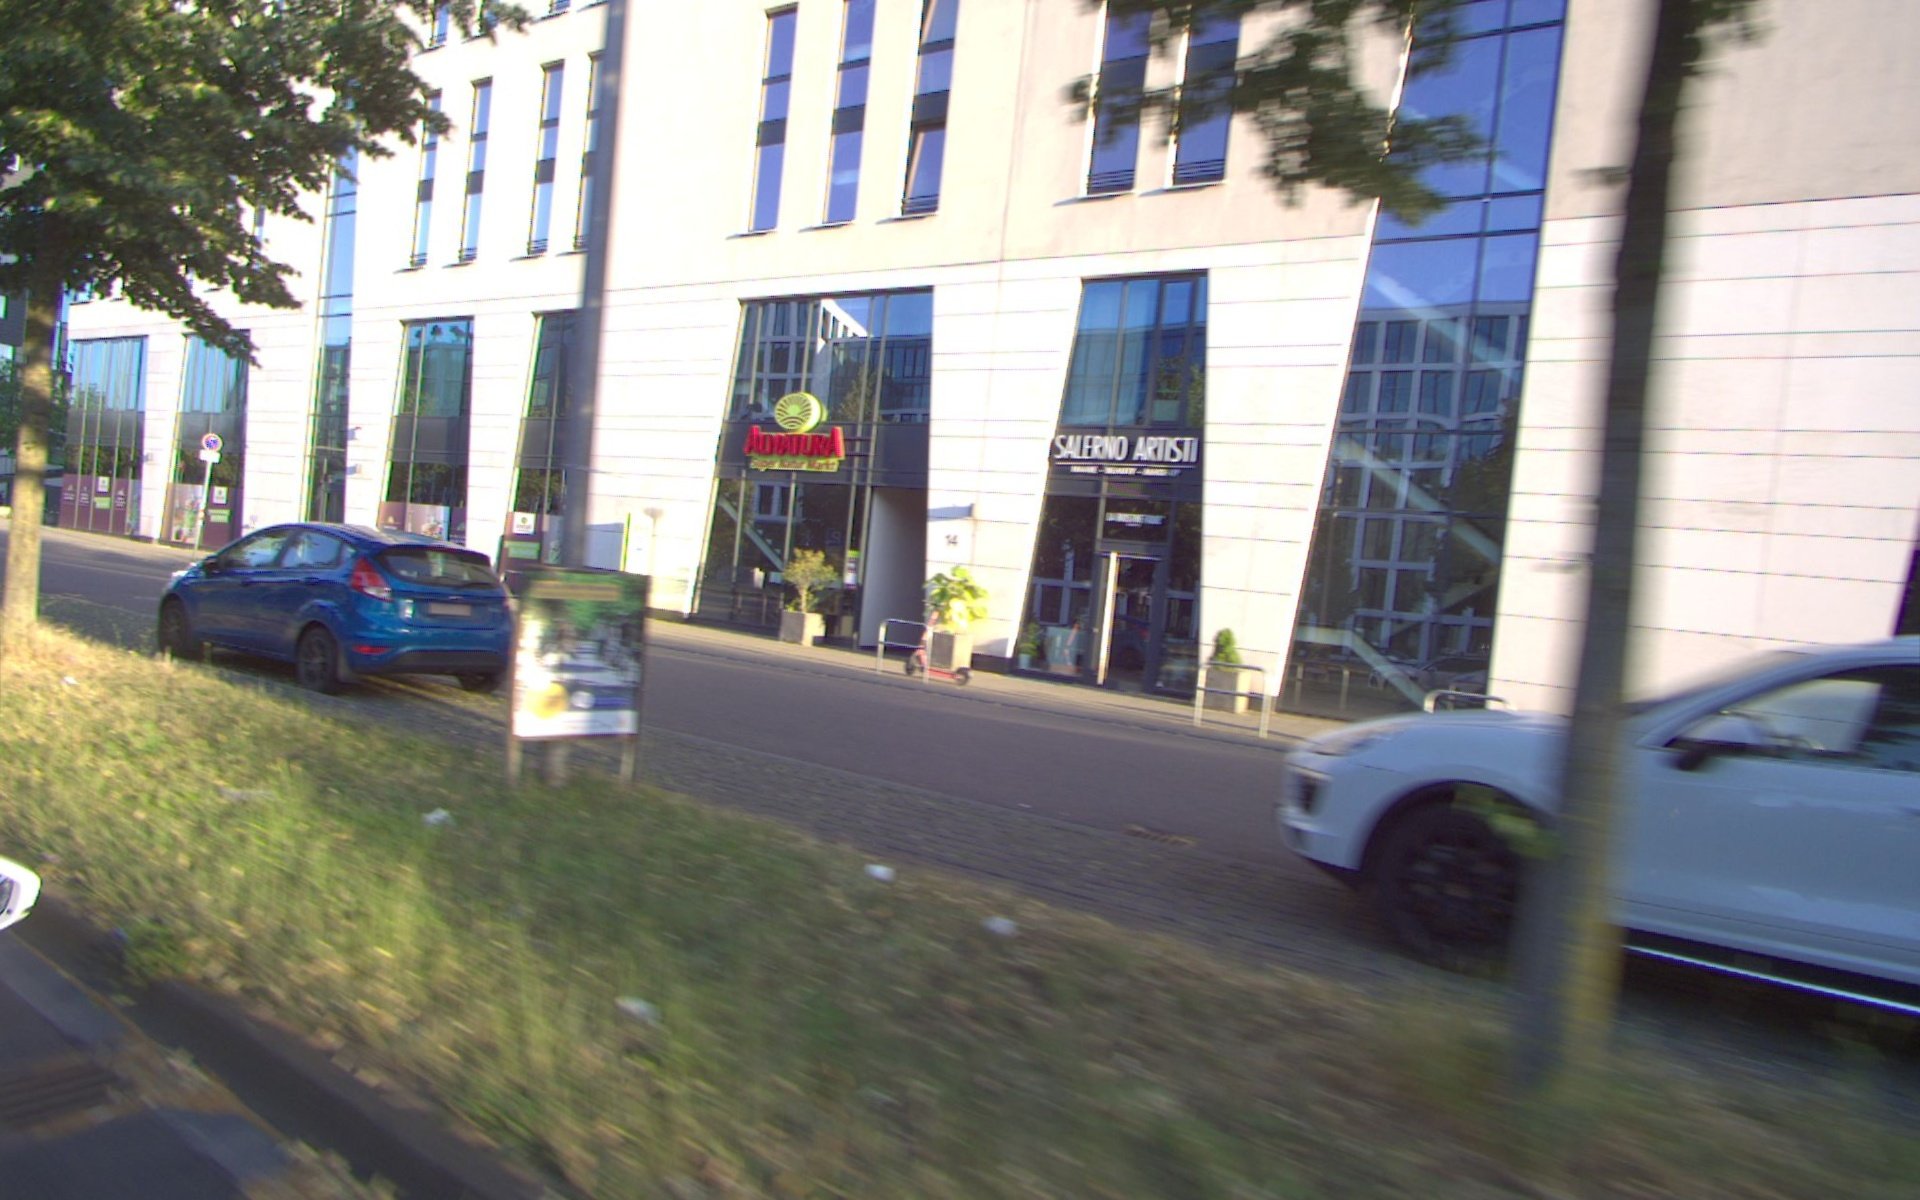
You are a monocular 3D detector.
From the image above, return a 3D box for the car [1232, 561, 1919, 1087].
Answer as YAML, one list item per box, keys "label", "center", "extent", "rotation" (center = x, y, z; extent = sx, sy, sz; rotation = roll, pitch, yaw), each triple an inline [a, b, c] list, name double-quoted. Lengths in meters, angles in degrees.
- label: "car"
  center: [4.086, 0.992, 4.503]
  extent: [5.071, 1.735, 1.955]
  rotation: [6, -1, 30]

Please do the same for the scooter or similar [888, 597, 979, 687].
- label: "scooter or similar"
  center: [-0.412, 0.621, 15.237]
  extent: [1.288, 1.203, 0.356]
  rotation: [7, 3, 30]

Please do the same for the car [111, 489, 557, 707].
- label: "car"
  center: [-6.128, -0.058, 9.756]
  extent: [4.195, 1.548, 1.728]
  rotation: [6, -1, 29]

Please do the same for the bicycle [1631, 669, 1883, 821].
- label: "bicycle"
  center: [7.847, 1.382, 9.997]
  extent: [1.807, 1.140, 0.569]
  rotation: [8, 4, 40]

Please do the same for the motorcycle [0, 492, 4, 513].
- label: "motorcycle"
  center: [-53.147, -5.418, 55.076]
  extent: [2.295, 1.108, 0.650]
  rotation: [7, 1, 35]

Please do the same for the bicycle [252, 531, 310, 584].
- label: "bicycle"
  center: [-15.821, -1.003, 23.431]
  extent: [1.745, 1.087, 0.446]
  rotation: [7, 3, 33]
